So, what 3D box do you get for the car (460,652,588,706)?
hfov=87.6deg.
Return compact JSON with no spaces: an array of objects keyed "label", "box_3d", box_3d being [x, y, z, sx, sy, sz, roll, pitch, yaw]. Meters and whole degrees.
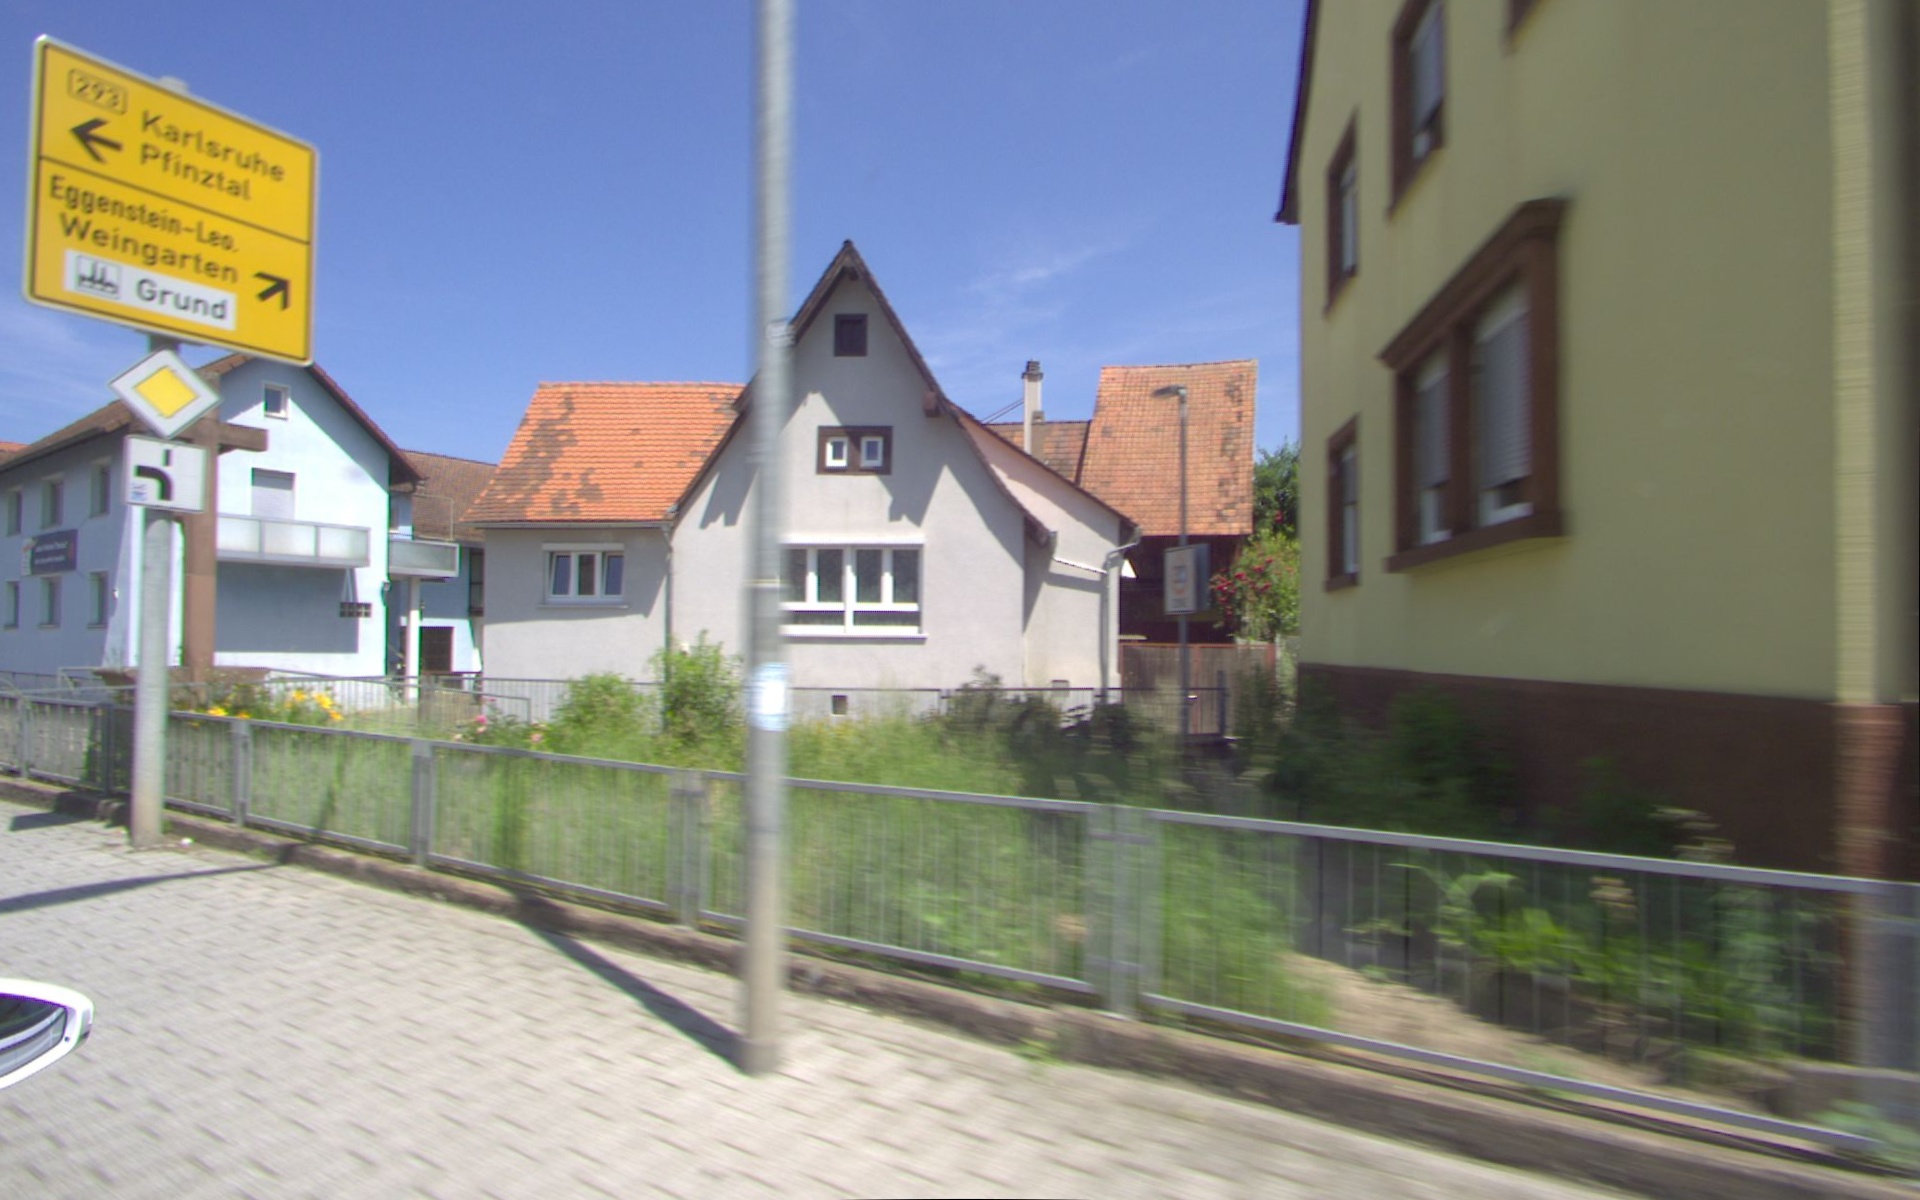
[{"label":"car","box_3d":[-13.341,2.378,30.862,1.781,1.471,3.736,1,-2,11]}]
